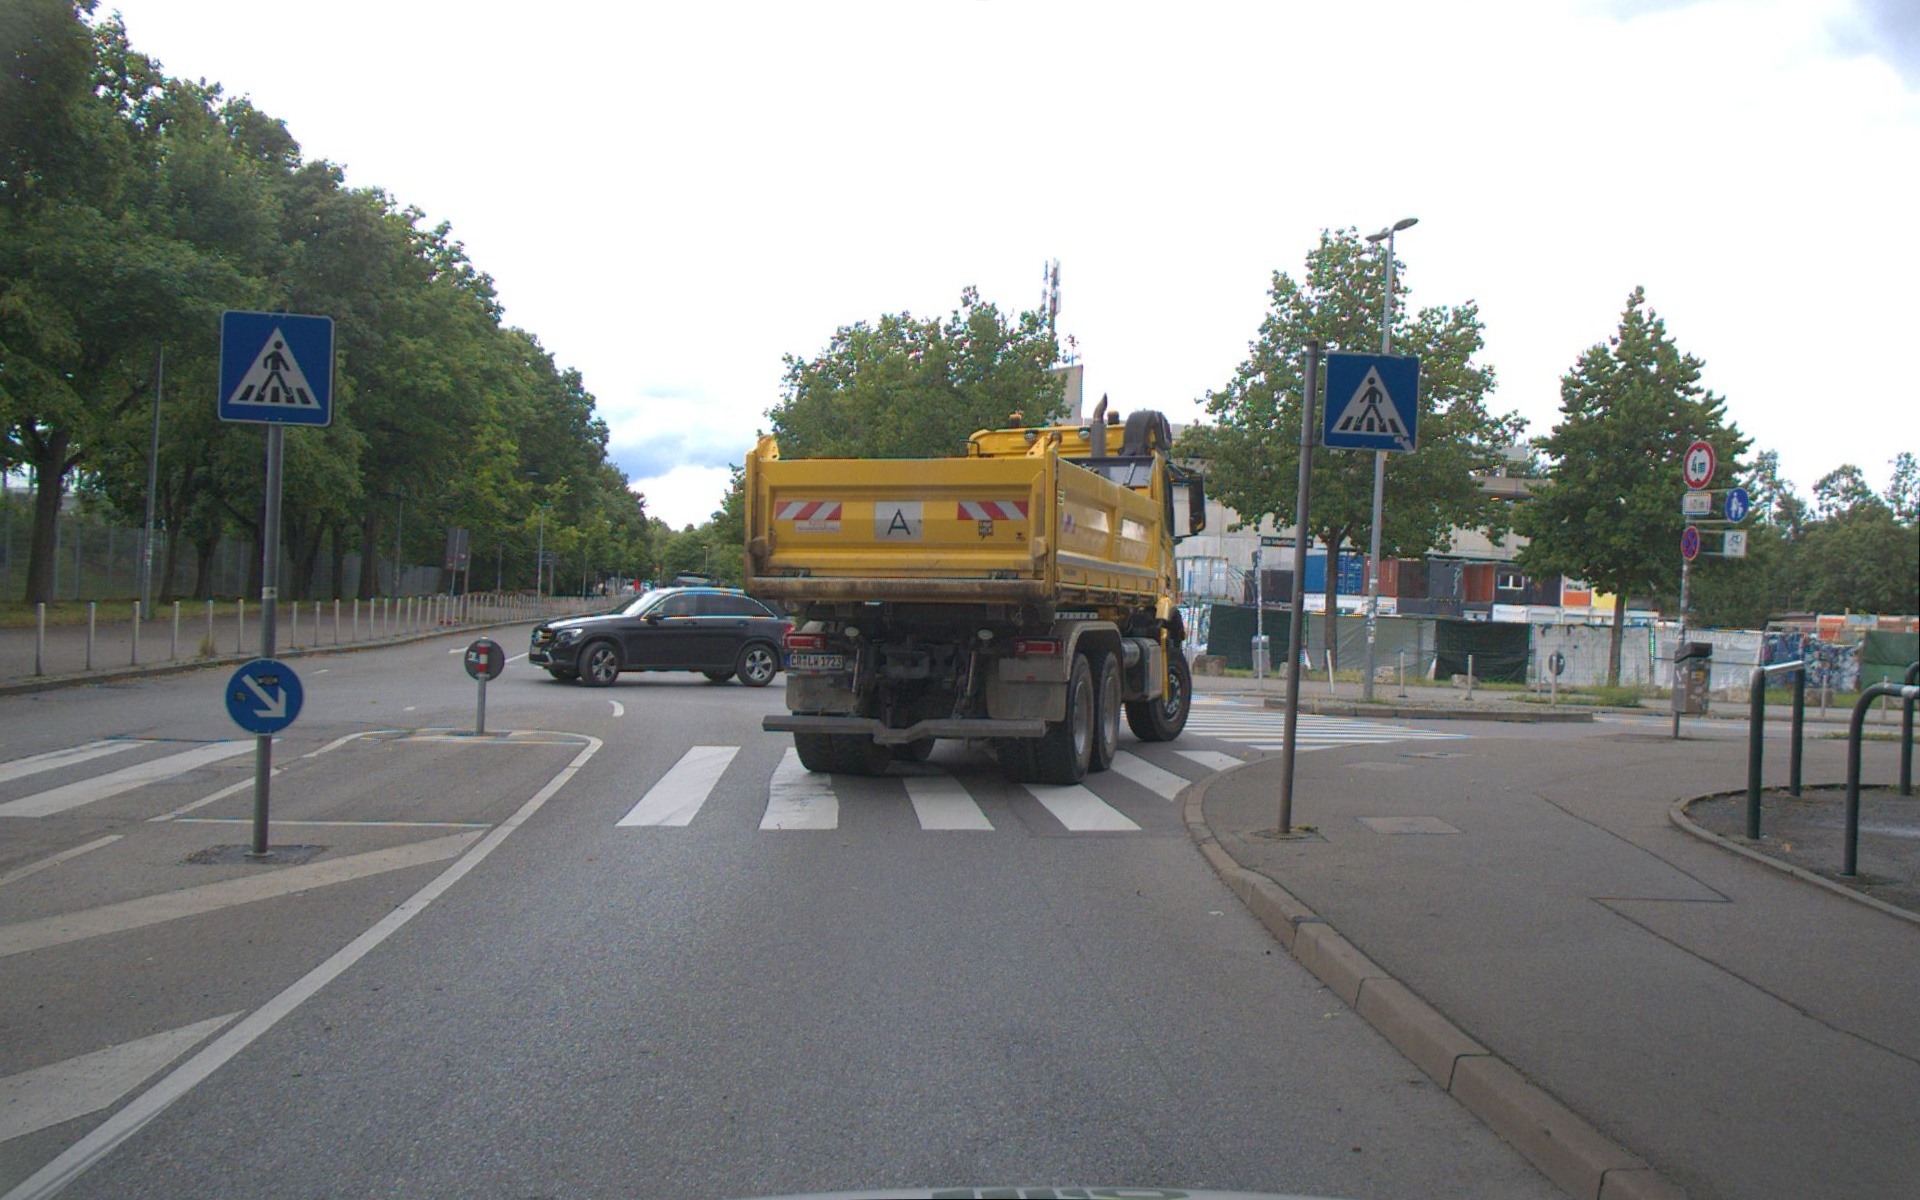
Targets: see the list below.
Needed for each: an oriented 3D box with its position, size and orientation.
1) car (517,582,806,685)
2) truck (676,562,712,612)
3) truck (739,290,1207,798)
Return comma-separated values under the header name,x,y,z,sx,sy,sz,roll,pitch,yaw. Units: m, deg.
name,x,y,z,sx,sy,sz,roll,pitch,yaw
car,-5.048,0.579,28.227,4.493,1.602,1.824,2,0,-34
truck,-20.318,-0.929,126.011,2.624,3.621,7.904,0,-1,-10
truck,0.608,-0.376,16.404,2.699,3.763,7.885,-1,-1,15
